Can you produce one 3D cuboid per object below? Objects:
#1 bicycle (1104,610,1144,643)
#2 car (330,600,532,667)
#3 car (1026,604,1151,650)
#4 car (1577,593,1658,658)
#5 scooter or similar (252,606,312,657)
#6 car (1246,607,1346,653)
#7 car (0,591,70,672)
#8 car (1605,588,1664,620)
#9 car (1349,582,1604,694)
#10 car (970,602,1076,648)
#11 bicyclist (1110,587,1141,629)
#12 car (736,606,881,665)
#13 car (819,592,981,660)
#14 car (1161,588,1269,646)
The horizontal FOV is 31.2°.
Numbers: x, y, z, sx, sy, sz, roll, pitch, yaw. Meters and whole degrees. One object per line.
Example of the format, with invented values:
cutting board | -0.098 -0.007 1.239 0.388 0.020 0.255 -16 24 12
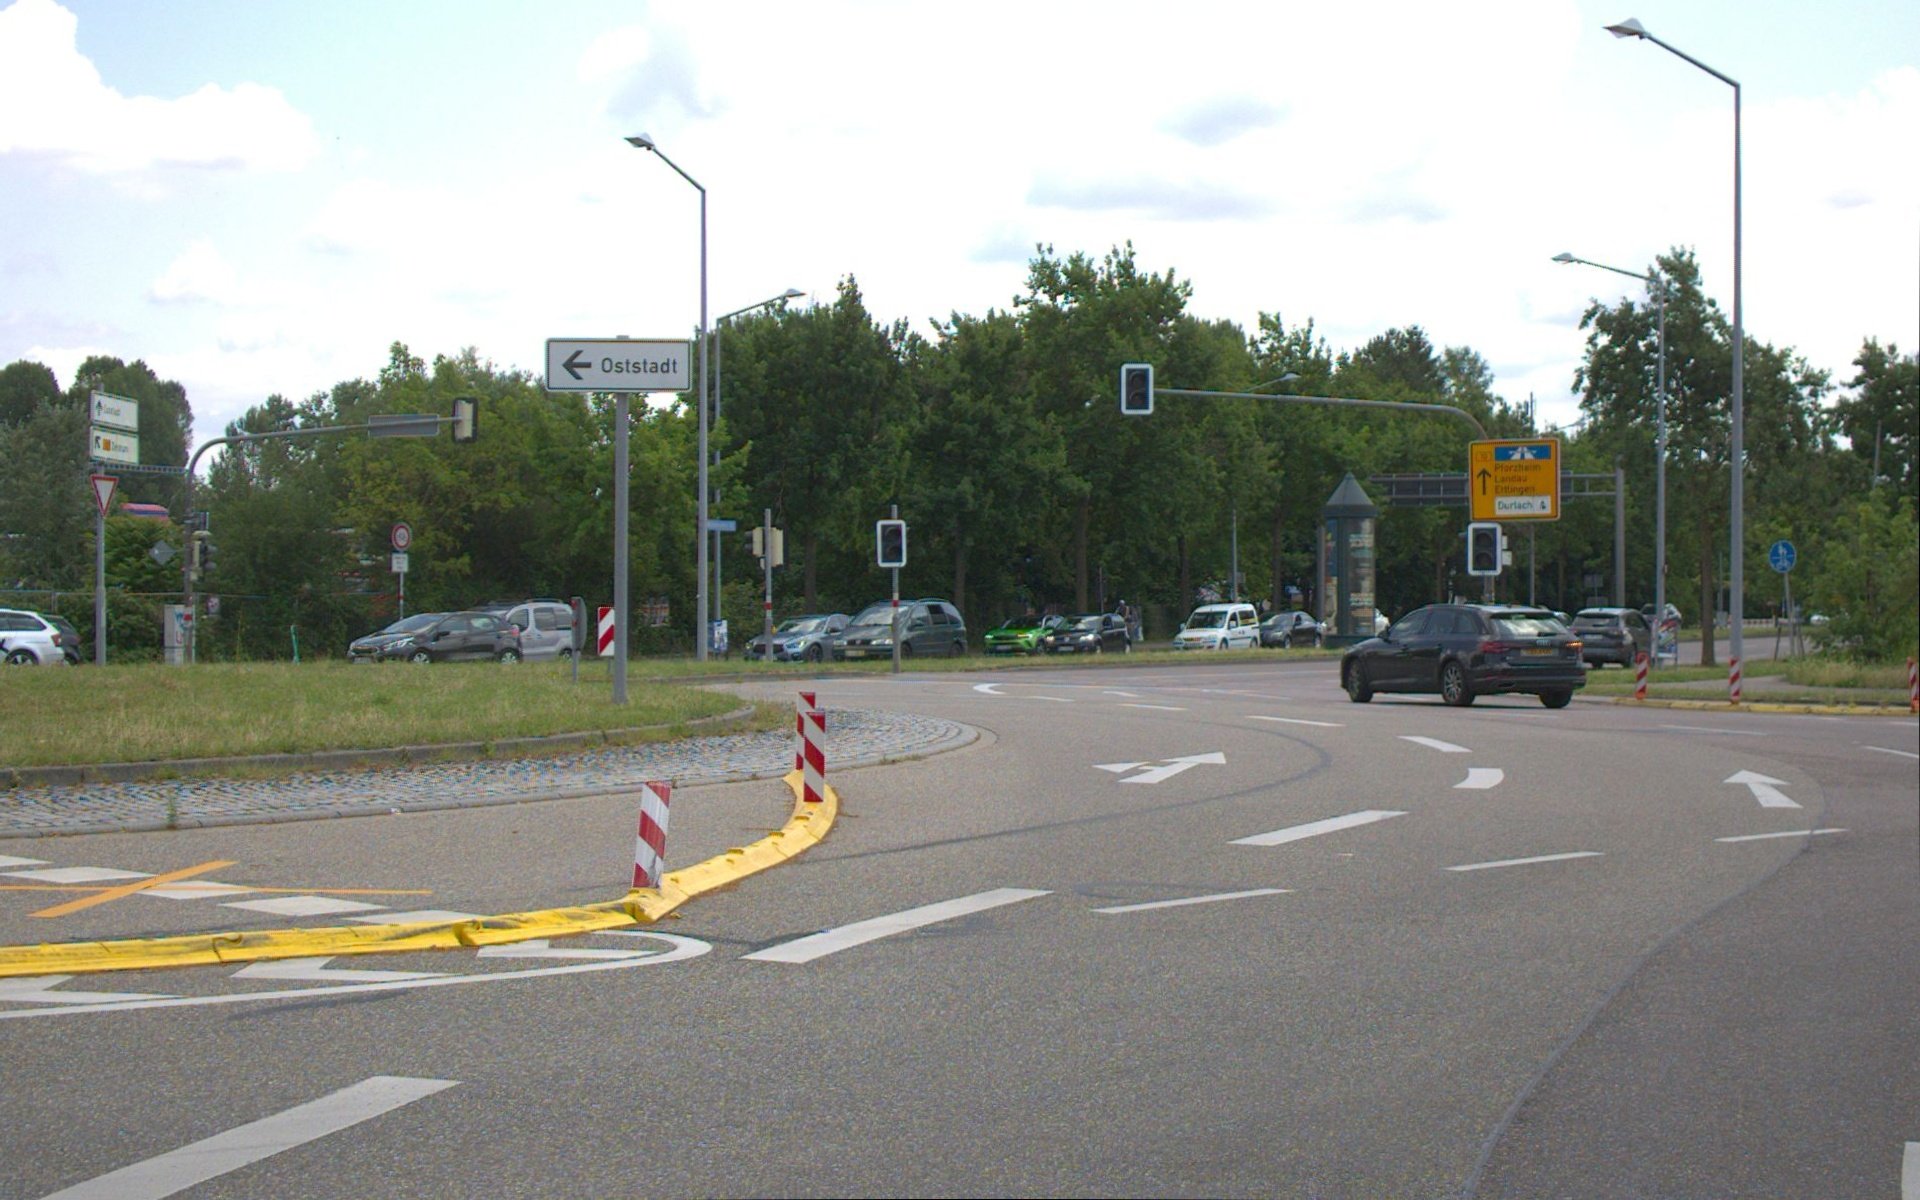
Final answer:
bicycle | 6.197 0.986 129.664 0.762 1.215 2.014 2 1 25
car | -11.367 0.716 74.009 3.969 1.336 1.802 -1 0 -44
car | 3.866 0.816 102.690 1.840 1.306 4.780 -2 -1 28
car | 17.724 0.665 92.576 1.994 1.620 4.307 -1 1 13
scooter or similar | -15.660 0.729 79.401 0.541 1.162 1.438 1 0 29
car | 11.426 1.015 116.782 1.840 1.475 4.746 -2 -1 25
car | -19.562 0.605 65.648 4.494 1.516 2.123 0 1 -38
car | 34.052 0.188 173.387 1.765 1.572 5.024 -1 0 25
car | 7.254 0.513 48.653 1.683 1.458 4.001 1 0 -23
car | 1.965 0.778 105.412 1.618 1.344 4.164 -2 -1 26
bicyclist | 6.228 0.309 129.649 0.831 1.559 0.882 2 1 25
car | -3.769 0.865 86.374 1.908 1.418 4.185 0 0 25
car | -1.419 0.632 83.622 1.911 1.587 4.585 0 0 29
car | 8.306 0.559 111.596 1.840 1.793 4.781 -2 -1 26
